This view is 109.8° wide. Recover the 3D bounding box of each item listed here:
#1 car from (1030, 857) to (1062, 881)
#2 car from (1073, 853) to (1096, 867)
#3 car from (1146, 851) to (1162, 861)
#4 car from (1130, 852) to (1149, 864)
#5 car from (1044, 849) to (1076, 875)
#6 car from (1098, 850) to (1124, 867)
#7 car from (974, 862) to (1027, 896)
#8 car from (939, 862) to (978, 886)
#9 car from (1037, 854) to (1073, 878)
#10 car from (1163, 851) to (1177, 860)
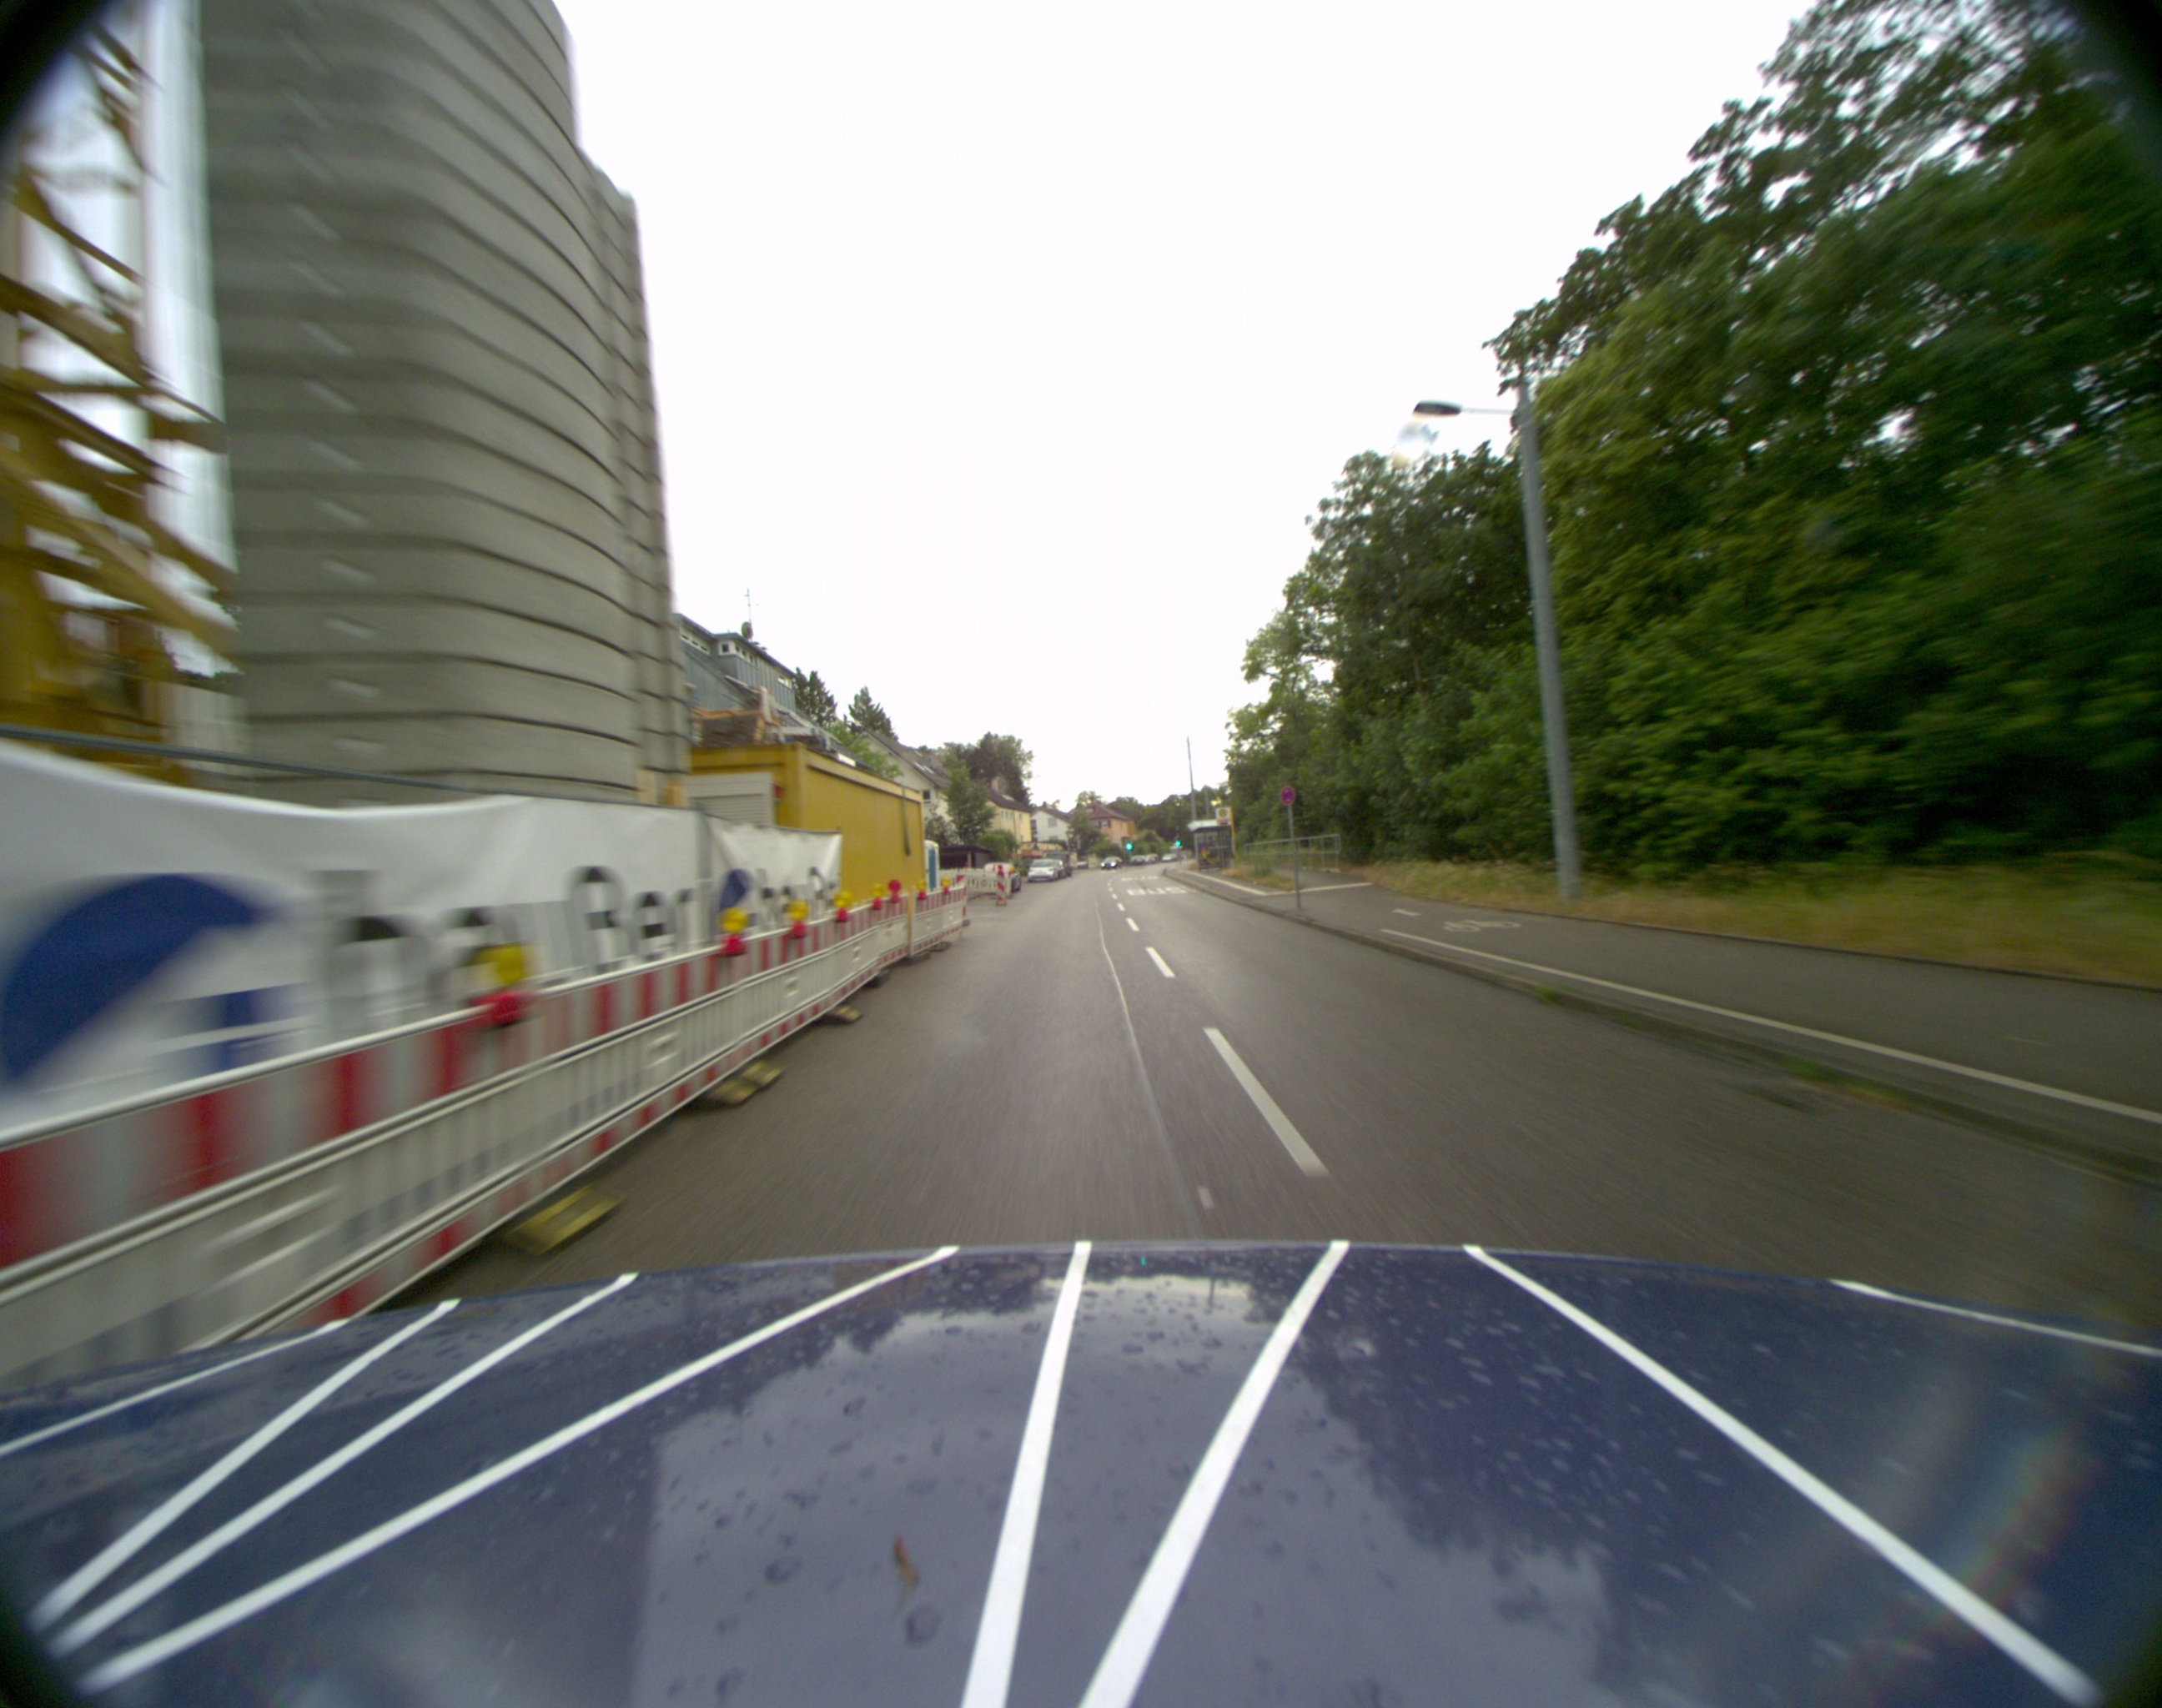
[{"bbox_3d":[-2.287,0.948,50.656,1.676,1.449,3.387,-3,0,5],"label":"car"},{"bbox_3d":[0.465,0.851,104.919,1.935,1.587,4.346,-5,0,16],"label":"car"},{"bbox_3d":[11.556,0.322,120.250,1.732,1.558,4.527,-3,0,16],"label":"car"},{"bbox_3d":[8.485,0.518,109.283,1.754,1.435,4.605,-4,1,16],"label":"car"},{"bbox_3d":[-1.600,0.595,60.345,1.998,2.002,4.958,-2,0,4],"label":"car"},{"bbox_3d":[3.447,0.485,86.550,1.996,1.714,4.004,-3,0,15],"label":"car"},{"bbox_3d":[-3.775,1.138,36.414,1.937,1.414,4.837,-2,0,0],"label":"car"},{"bbox_3d":[-8.278,1.324,51.823,1.739,1.388,4.000,-5,0,3],"label":"car"},{"bbox_3d":[-1.844,0.855,55.275,1.935,1.587,4.396,-1,1,7],"label":"car"},{"bbox_3d":[15.936,0.272,135.879,1.815,1.390,4.107,-4,1,17],"label":"car"}]
